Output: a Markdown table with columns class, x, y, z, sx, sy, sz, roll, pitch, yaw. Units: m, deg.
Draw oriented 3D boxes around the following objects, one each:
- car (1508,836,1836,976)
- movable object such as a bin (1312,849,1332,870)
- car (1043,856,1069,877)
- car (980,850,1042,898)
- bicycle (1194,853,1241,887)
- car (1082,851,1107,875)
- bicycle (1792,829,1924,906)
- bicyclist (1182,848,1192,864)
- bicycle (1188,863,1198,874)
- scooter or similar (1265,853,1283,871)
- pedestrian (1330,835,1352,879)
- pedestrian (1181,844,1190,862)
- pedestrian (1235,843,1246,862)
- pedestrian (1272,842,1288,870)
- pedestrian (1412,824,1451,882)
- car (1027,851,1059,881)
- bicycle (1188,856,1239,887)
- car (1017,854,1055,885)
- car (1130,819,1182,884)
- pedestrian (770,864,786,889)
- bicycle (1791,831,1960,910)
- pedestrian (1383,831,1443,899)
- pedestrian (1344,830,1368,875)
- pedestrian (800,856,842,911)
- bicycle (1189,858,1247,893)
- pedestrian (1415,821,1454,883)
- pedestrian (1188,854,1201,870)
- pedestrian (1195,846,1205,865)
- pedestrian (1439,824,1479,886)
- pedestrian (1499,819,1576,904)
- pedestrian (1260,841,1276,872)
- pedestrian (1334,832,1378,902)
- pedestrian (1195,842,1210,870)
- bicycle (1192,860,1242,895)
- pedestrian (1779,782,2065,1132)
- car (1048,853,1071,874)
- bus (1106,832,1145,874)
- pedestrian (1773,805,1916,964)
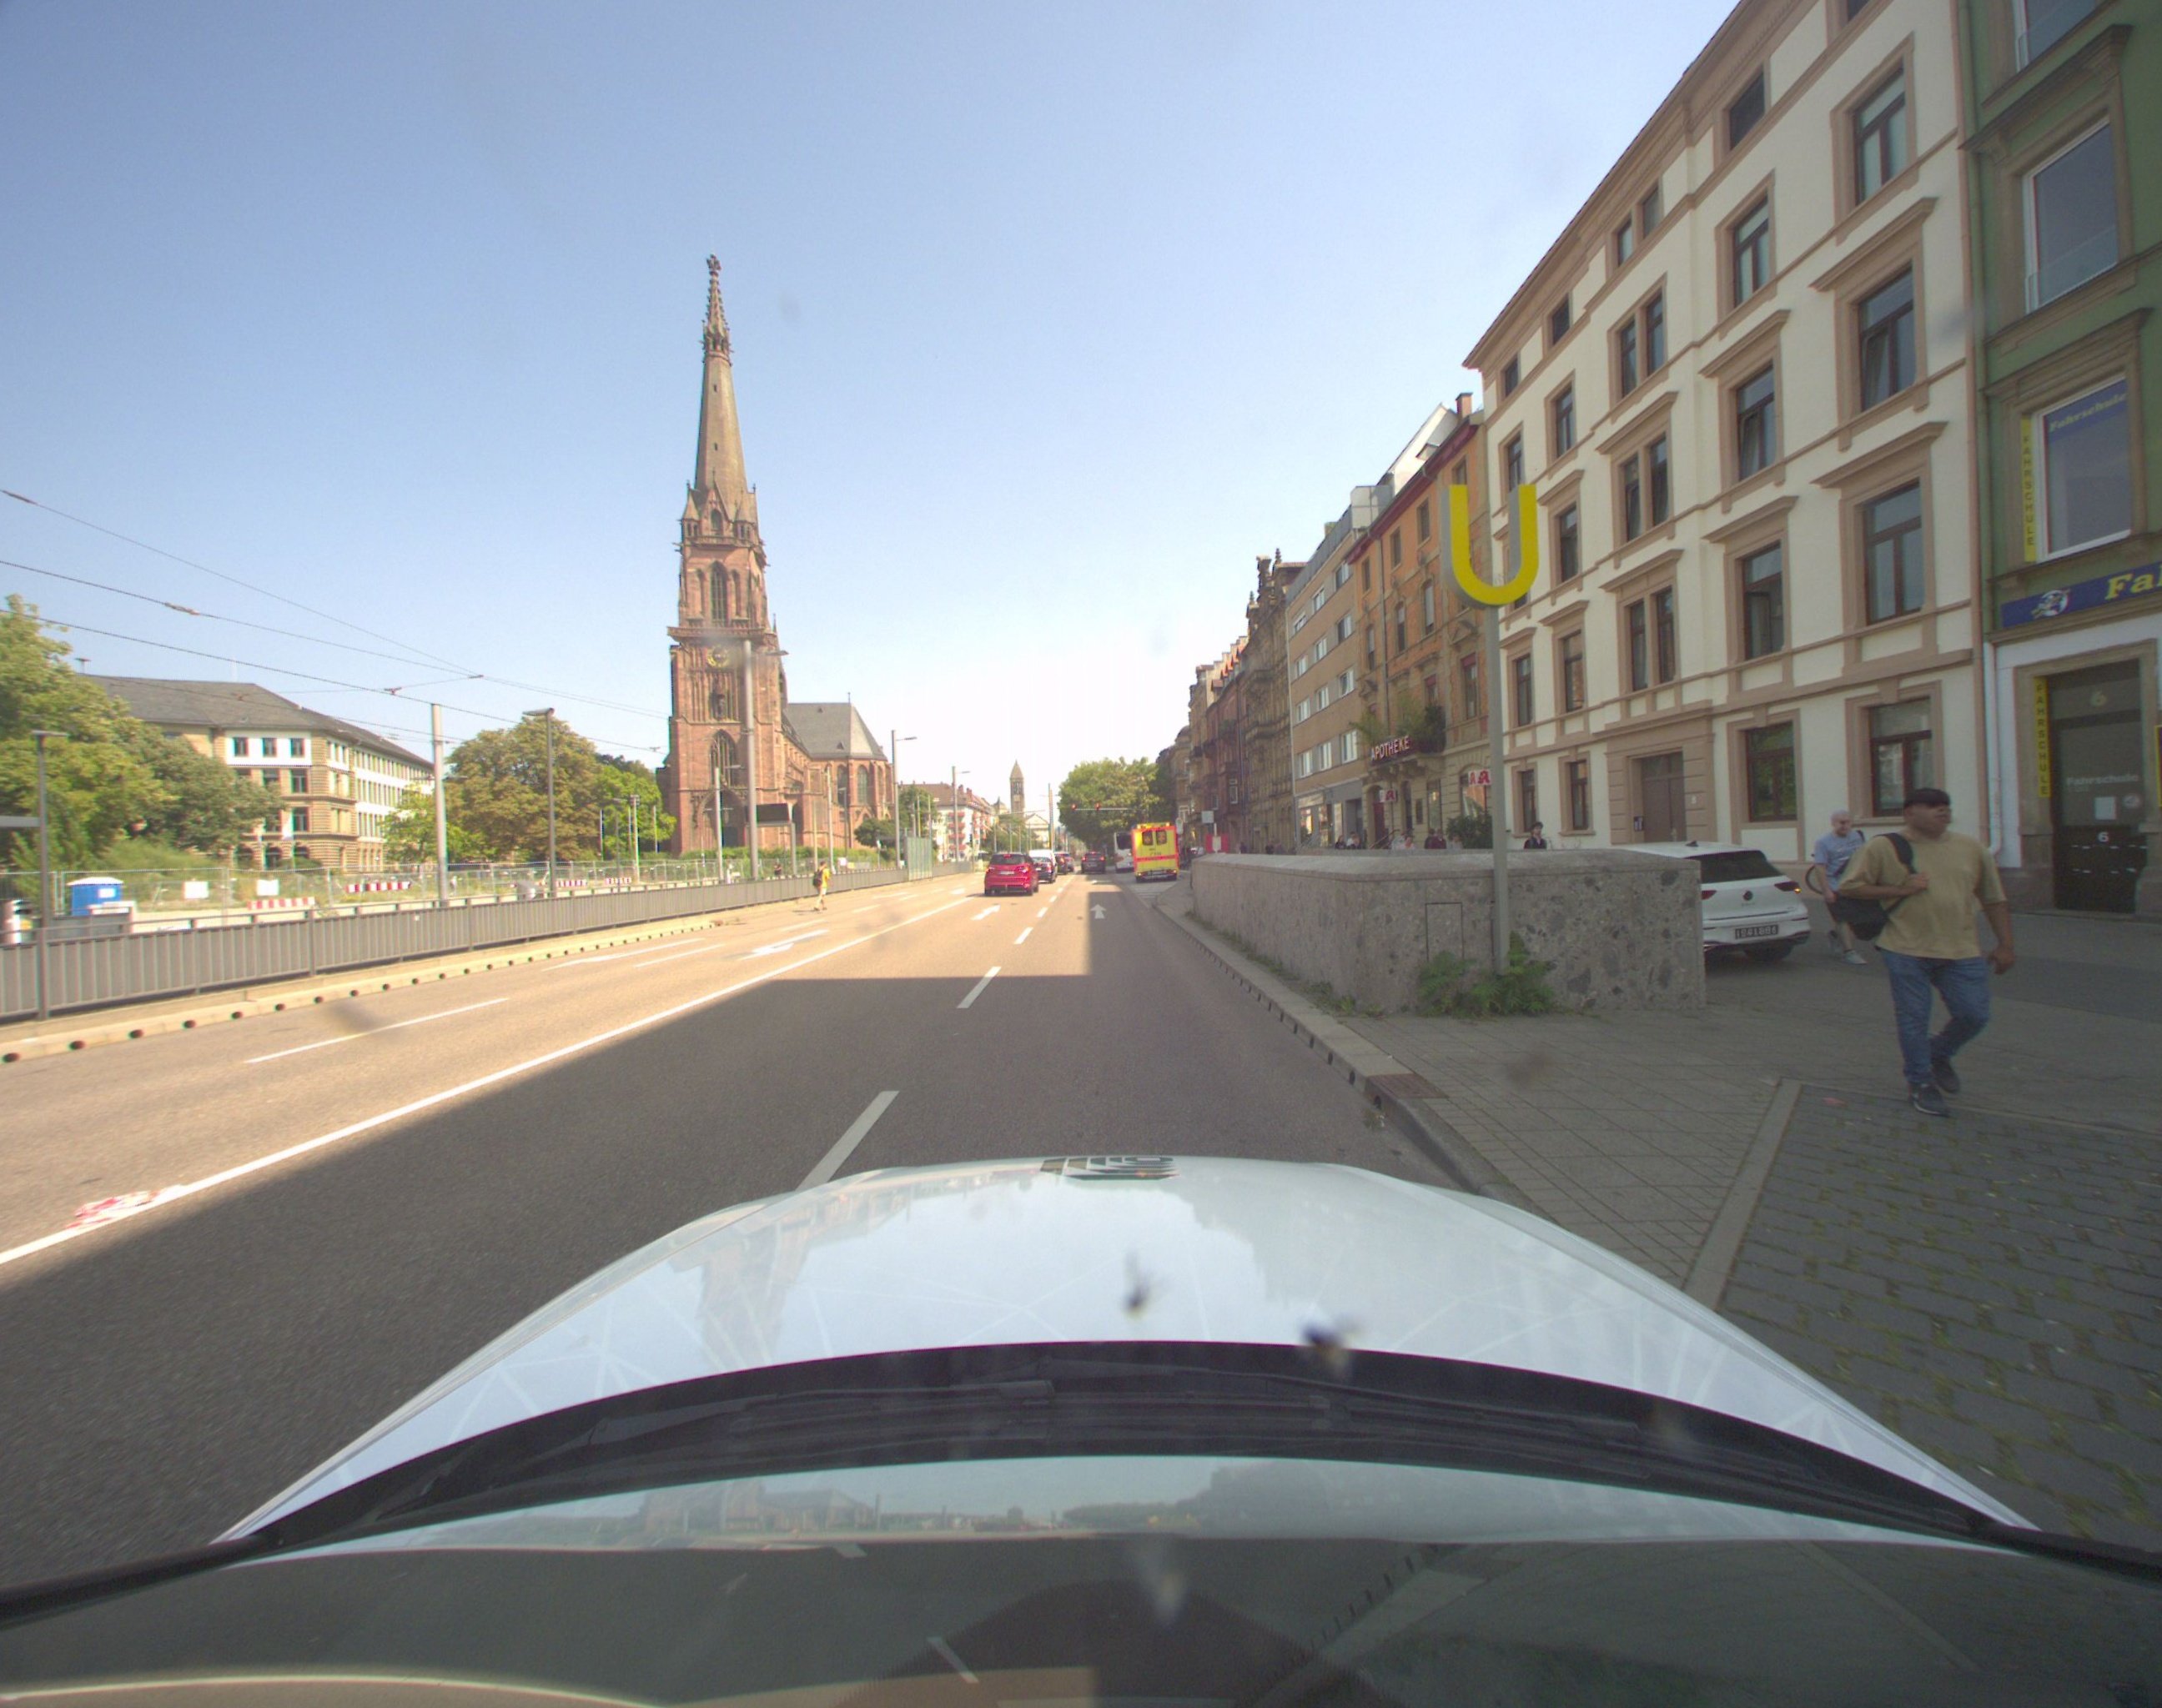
| class | x | y | z | sx | sy | sz | roll | pitch | yaw |
| --- | --- | --- | --- | --- | --- | --- | --- | --- | --- |
| car | 7.301 | 0.532 | 10.557 | 1.625 | 1.440 | 3.620 | -2 | 1 | 1 |
| movable object such as a bin | 12.635 | 0.273 | 42.724 | 0.651 | 1.047 | 0.755 | -3 | 0 | -43 |
| car | -1.833 | 0.923 | 60.026 | 1.785 | 1.472 | 3.998 | -2 | -1 | -1 |
| car | -2.585 | 0.708 | 31.002 | 1.755 | 1.618 | 4.085 | -2 | 0 | 2 |
| bicycle | 5.133 | 0.582 | 30.671 | 1.665 | 1.215 | 0.645 | -2 | 0 | 5 |
| car | 0.994 | 0.676 | 61.343 | 1.785 | 1.677 | 3.998 | -2 | -1 | -1 |
| bicycle | 13.057 | 0.214 | 13.765 | 0.456 | 1.184 | 1.847 | -2 | 0 | 1 |
| bicyclist | 8.918 | 0.161 | 68.553 | 0.750 | 1.322 | 0.582 | -2 | 0 | 0 |
| bicycle | 9.420 | 1.197 | 68.549 | 0.587 | 0.855 | 1.775 | -2 | 0 | -1 |
| scooter or similar | 12.665 | 0.537 | 53.552 | 0.514 | 1.196 | 1.296 | -2 | 0 | -18 |
| pedestrian | 10.771 | 0.115 | 33.776 | 0.575 | 1.750 | 0.679 | -5 | 0 | 0 |
| pedestrian | 10.005 | -0.094 | 77.797 | 0.694 | 1.667 | 1.065 | -2 | 0 | 3 |
| pedestrian | 13.346 | -0.140 | 68.139 | 0.622 | 1.593 | 0.695 | -2 | 0 | -5 |
| pedestrian | 10.921 | 0.116 | 44.626 | 0.641 | 1.493 | 0.789 | -2 | 0 | 0 |
| pedestrian | 11.627 | -0.019 | 27.027 | 0.840 | 1.846 | 0.684 | -4 | 0 | -9 |
| car | -2.387 | 0.767 | 51.683 | 1.785 | 1.780 | 3.998 | -2 | -1 | -1 |
| bicycle | 4.872 | 0.654 | 29.977 | 1.768 | 1.072 | 0.645 | -2 | 0 | 4 |
| car | -2.287 | 0.752 | 42.276 | 1.785 | 1.431 | 3.998 | -2 | 0 | -1 |
| car | 3.726 | -0.133 | 40.854 | 2.288 | 2.888 | 5.606 | -3 | 0 | 4 |
| pedestrian | -22.013 | 1.641 | 59.199 | 0.826 | 1.752 | 0.721 | -2 | -1 | 1 |
| bicycle | 13.027 | 0.222 | 13.486 | 0.478 | 1.146 | 2.473 | -2 | 2 | 3 |
| pedestrian | 8.079 | 0.268 | 19.829 | 0.856 | 1.582 | 0.961 | -2 | -1 | -33 |
| pedestrian | 11.377 | -0.077 | 33.702 | 0.597 | 1.795 | 0.880 | -5 | 0 | 0 |
| pedestrian | -8.569 | 0.966 | 26.858 | 0.754 | 1.752 | 1.075 | -3 | -1 | 25 |
| bicycle | 4.477 | 0.704 | 26.601 | 1.829 | 1.071 | 0.365 | -1 | 1 | 0 |
| pedestrian | 10.505 | -0.070 | 24.235 | 0.681 | 1.773 | 1.018 | -2 | 1 | 0 |
| pedestrian | 12.735 | 0.893 | 91.512 | 1.244 | 1.751 | 1.526 | -2 | 2 | 1 |
| pedestrian | 10.361 | 0.122 | 70.978 | 0.694 | 1.667 | 0.603 | -2 | 0 | 2 |
| pedestrian | 11.257 | 0.015 | 24.280 | 0.681 | 1.773 | 1.018 | -2 | 1 | 0 |
| pedestrian | 8.920 | 0.147 | 15.927 | 0.856 | 1.582 | 0.961 | -2 | -1 | -33 |
| pedestrian | 10.231 | 0.137 | 44.679 | 0.641 | 1.685 | 0.789 | -2 | 0 | 0 |
| pedestrian | 7.215 | 0.328 | 21.395 | 0.845 | 1.728 | 0.973 | -3 | 2 | 7 |
| pedestrian | 7.391 | 0.123 | 49.560 | 0.690 | 1.667 | 0.606 | -2 | 0 | 26 |
| bicycle | 4.365 | 0.738 | 26.151 | 1.532 | 1.071 | 0.365 | -1 | 1 | 0 |
| pedestrian | 4.689 | 0.498 | 4.641 | 0.858 | 1.751 | 0.878 | 1 | 2 | 27 |
| car | -1.780 | 0.794 | 67.954 | 1.785 | 1.698 | 3.998 | -2 | -1 | -1 |
| bus | 3.467 | -0.067 | 65.719 | 2.525 | 3.032 | 12.437 | -2 | 0 | 1 |
| pedestrian | 8.617 | 0.326 | 9.240 | 0.668 | 1.685 | 0.943 | -3 | 0 | 0 |
